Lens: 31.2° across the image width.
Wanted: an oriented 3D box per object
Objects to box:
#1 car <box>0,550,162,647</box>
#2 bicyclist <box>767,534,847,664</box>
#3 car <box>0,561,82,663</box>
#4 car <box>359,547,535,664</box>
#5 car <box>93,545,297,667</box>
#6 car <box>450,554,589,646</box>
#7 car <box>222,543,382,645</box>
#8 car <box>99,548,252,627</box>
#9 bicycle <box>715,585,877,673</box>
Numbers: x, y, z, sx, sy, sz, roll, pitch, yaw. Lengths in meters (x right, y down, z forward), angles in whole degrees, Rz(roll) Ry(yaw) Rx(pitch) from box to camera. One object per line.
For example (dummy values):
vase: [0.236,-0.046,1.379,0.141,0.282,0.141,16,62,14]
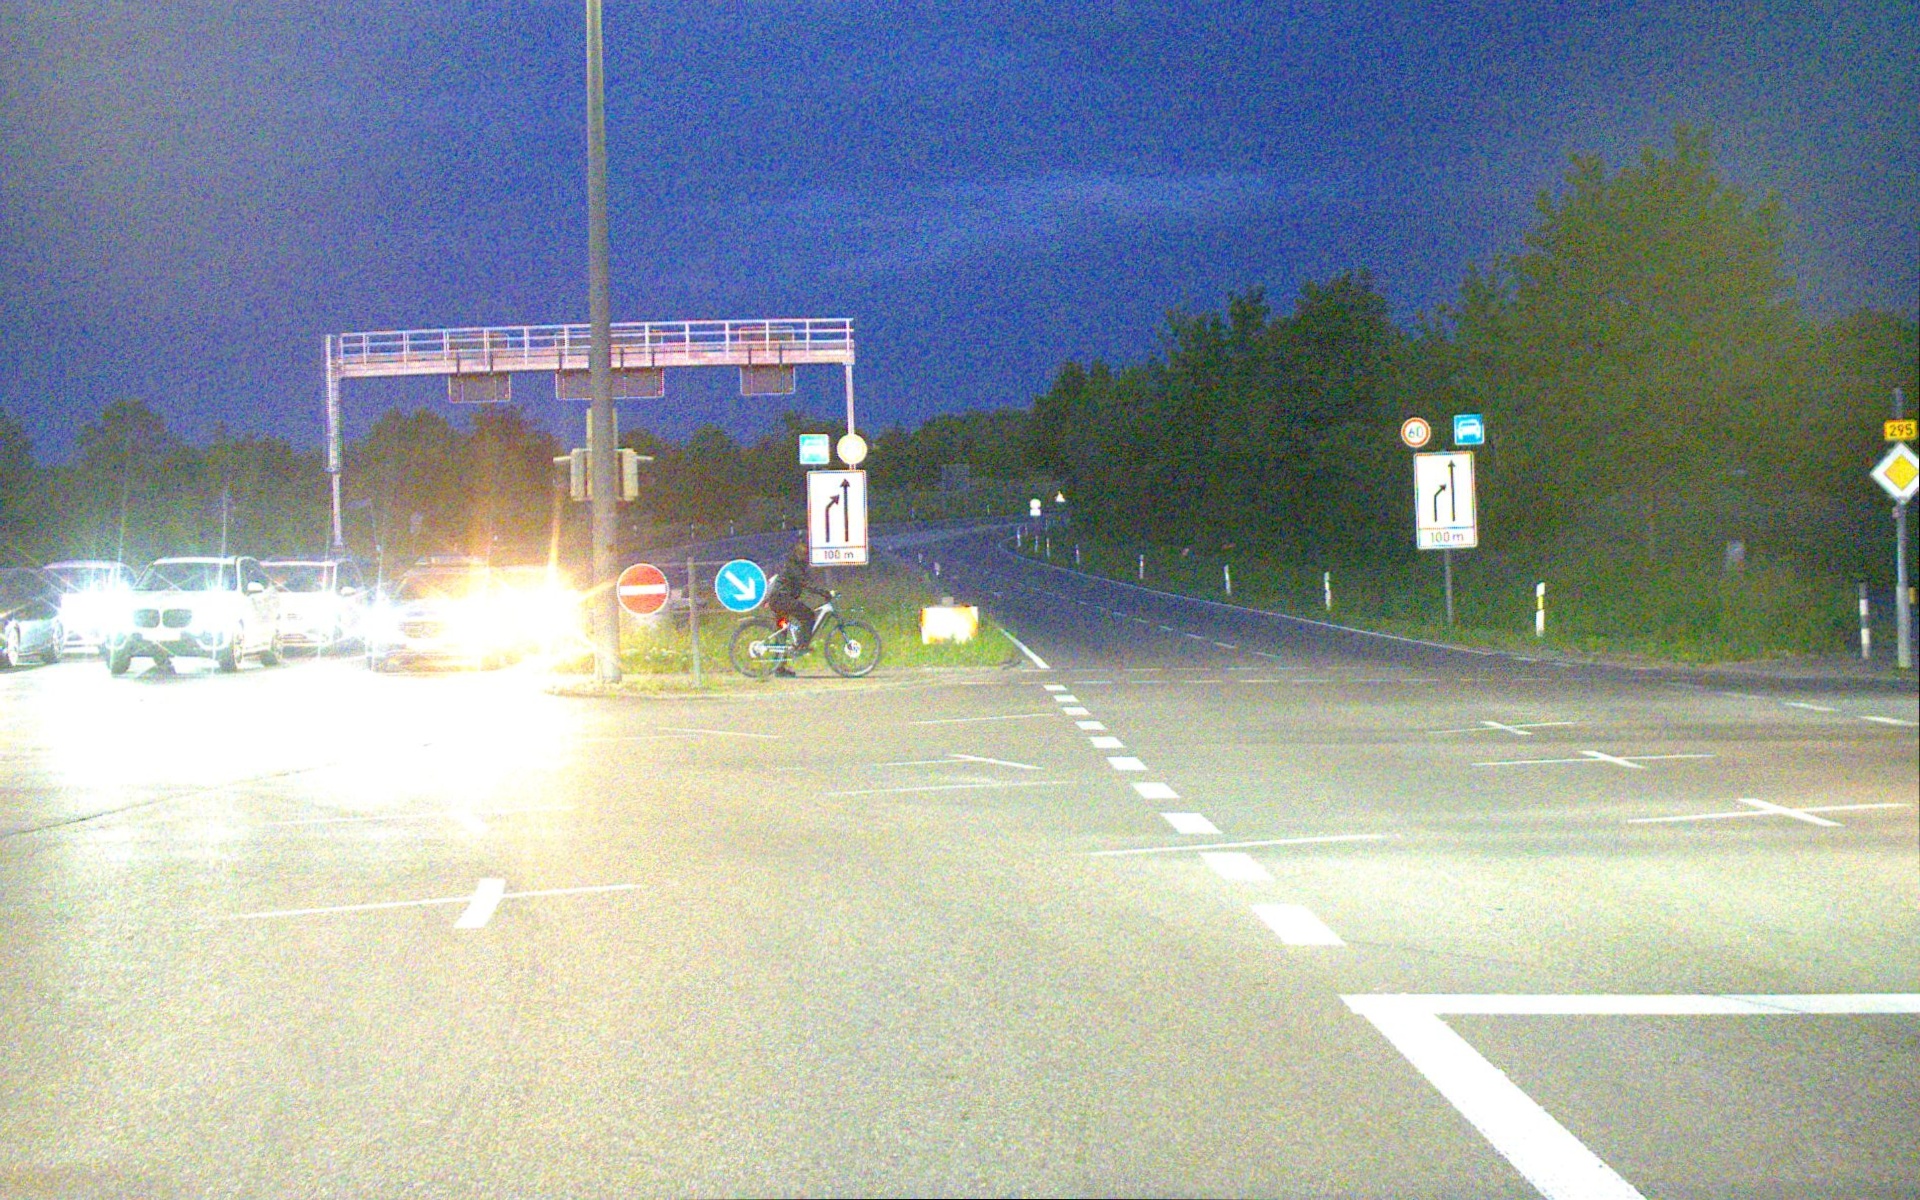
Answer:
car: [-14.784,-0.049,57.648,1.831,1.519,4.000,-1,1,0]
bicyclist: [-1.968,-0.016,44.254,0.997,1.645,0.604,0,0,-5]
car: [-14.632,0.154,51.376,1.780,1.441,4.291,0,1,2]
car: [-7.491,0.039,50.604,1.852,1.627,4.585,0,1,1]
car: [-11.095,0.051,50.149,1.908,1.676,4.420,0,1,1]
car: [-7.447,-0.023,58.444,1.773,1.476,3.910,0,1,1]
car: [-10.988,-0.127,57.657,1.745,1.621,4.363,0,1,1]
car: [-14.749,-0.257,64.882,1.831,1.385,4.397,-1,1,0]
bicycle: [-2.115,0.367,44.229,2.061,1.097,0.695,0,0,-5]
